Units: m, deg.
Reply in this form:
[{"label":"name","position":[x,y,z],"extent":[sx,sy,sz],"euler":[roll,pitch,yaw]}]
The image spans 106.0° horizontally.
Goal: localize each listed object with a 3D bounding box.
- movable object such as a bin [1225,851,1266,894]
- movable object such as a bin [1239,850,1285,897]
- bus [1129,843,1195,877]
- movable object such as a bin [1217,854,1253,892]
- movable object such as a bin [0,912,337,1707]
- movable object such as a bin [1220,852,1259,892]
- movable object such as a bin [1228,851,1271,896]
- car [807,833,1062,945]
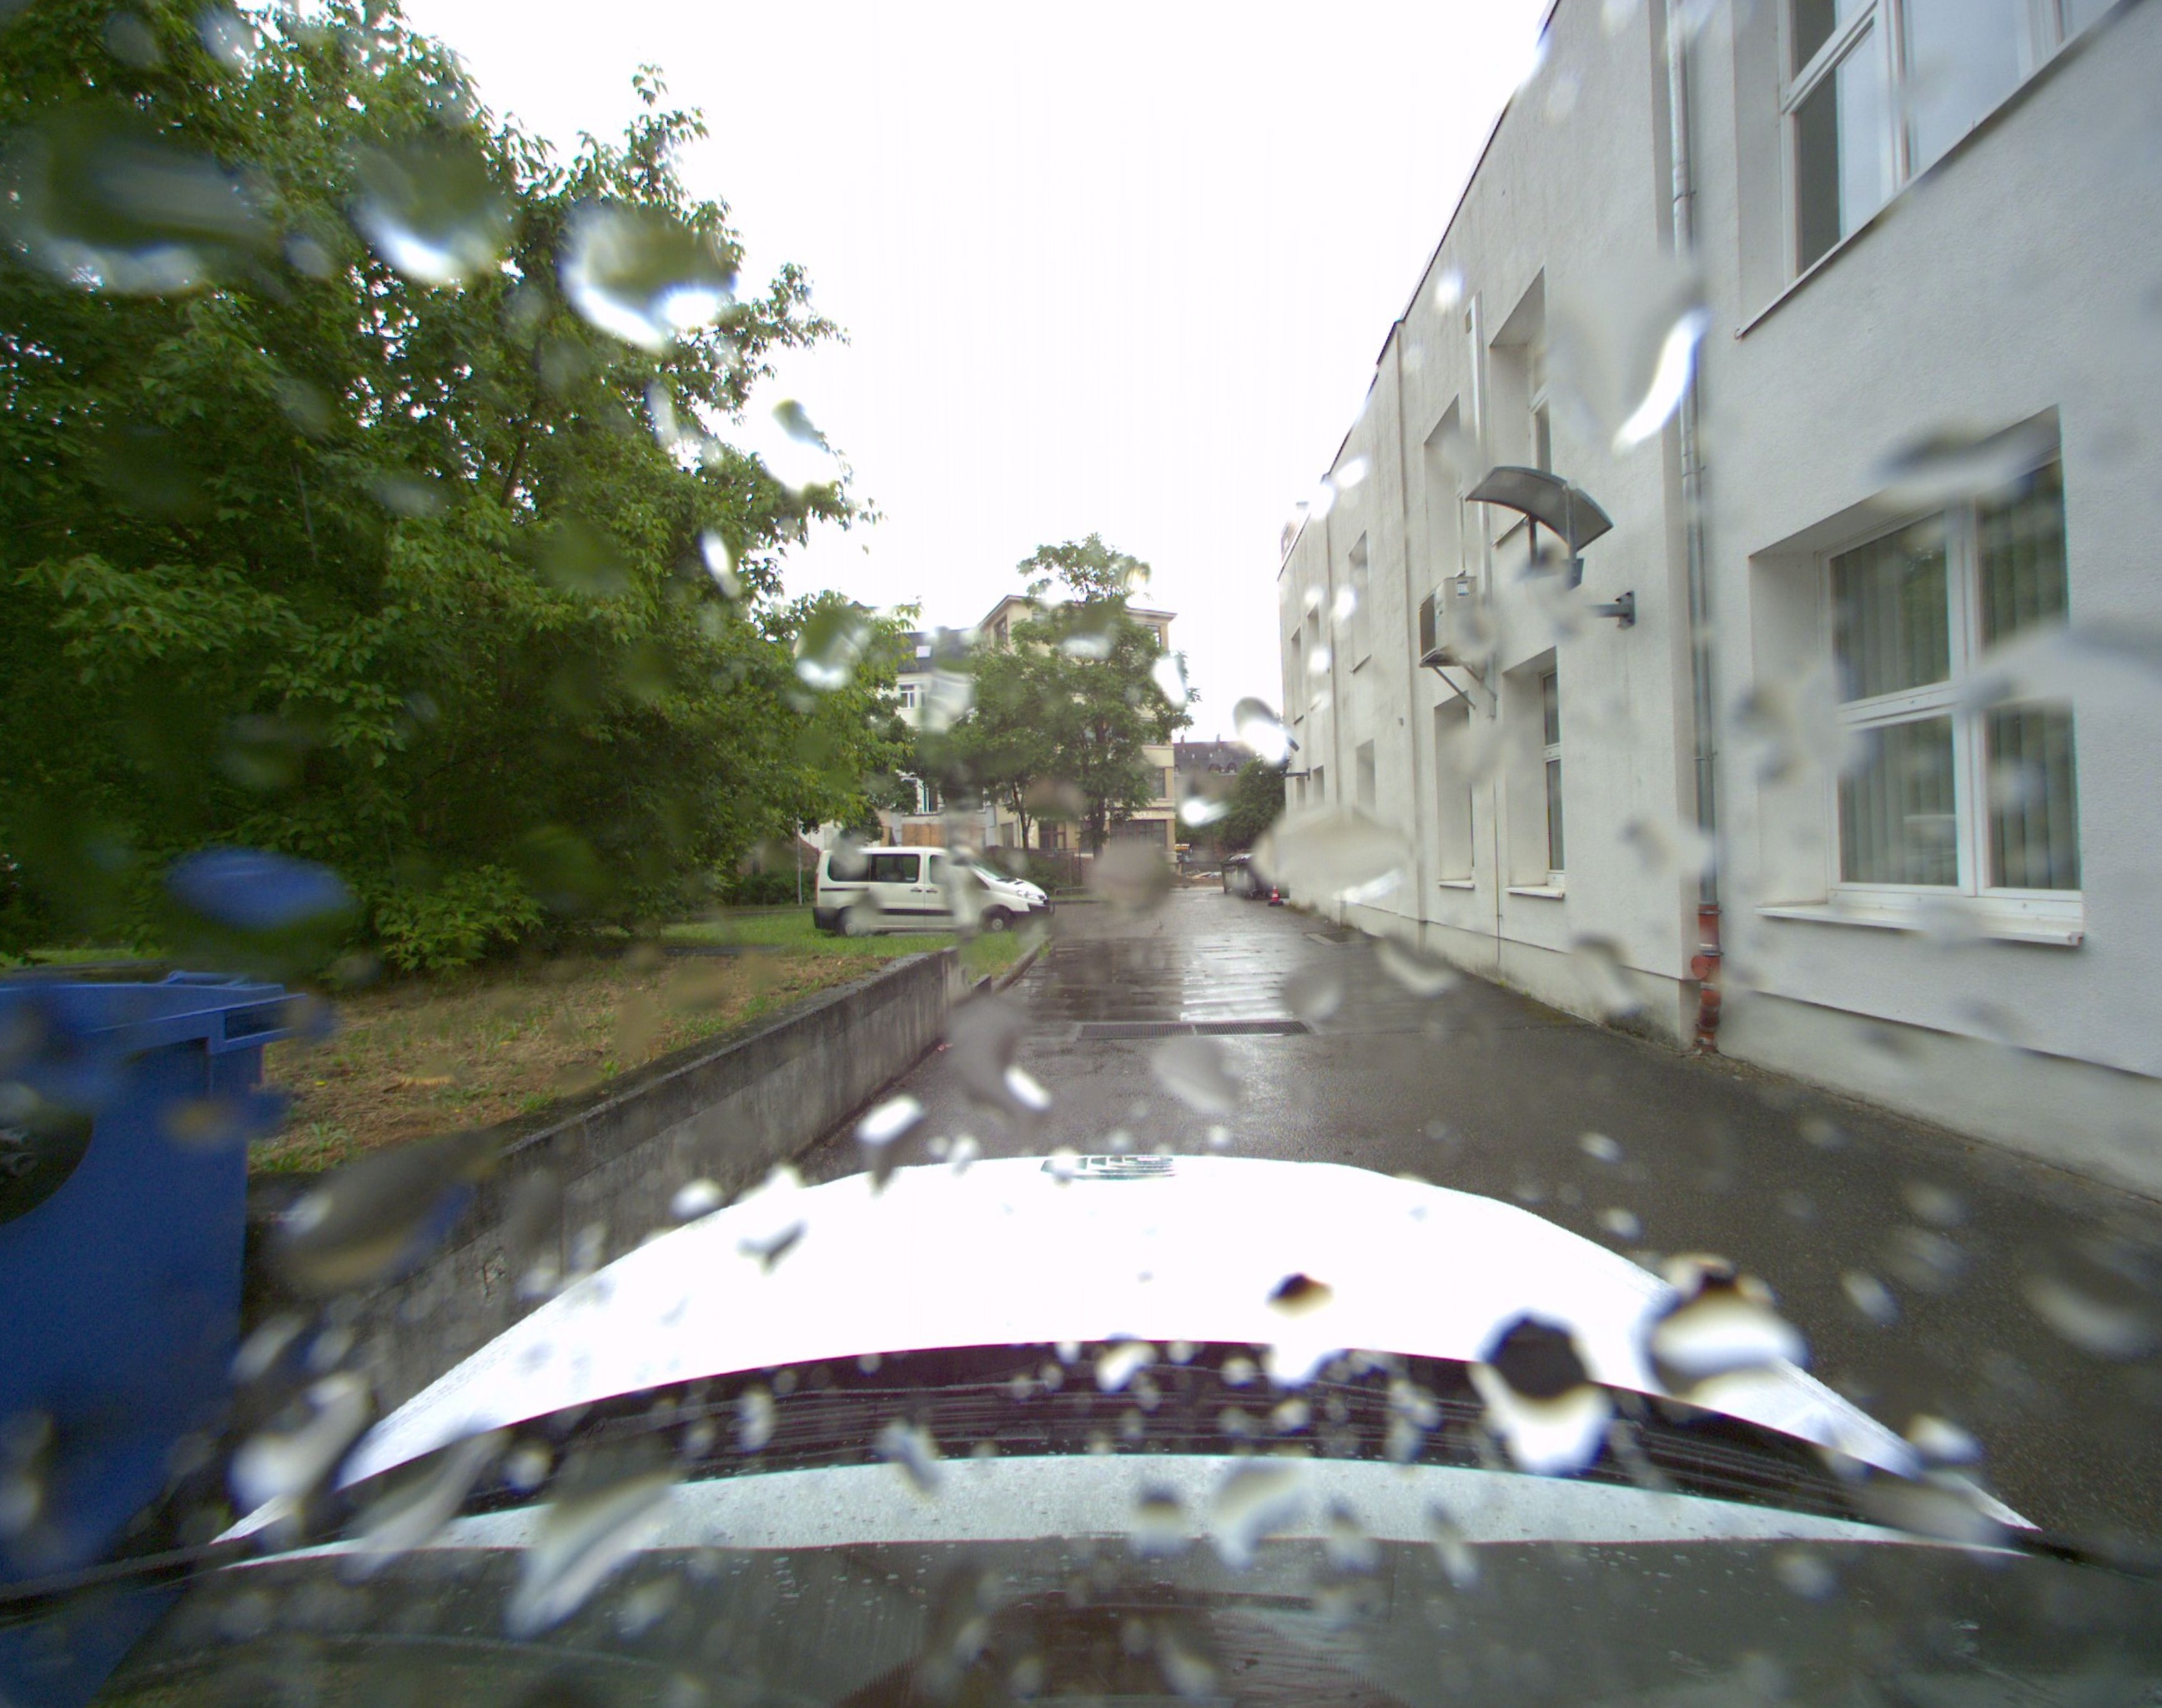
[{"label":"movable object such as a bin","position":[5.849,0.671,29.021],"extent":[1.209,1.468,1.236],"euler":[-1,-3,3]},{"label":"movable object such as a bin","position":[5.690,0.622,25.695],"extent":[1.209,1.437,1.236],"euler":[-1,-3,3]},{"label":"bus","position":[10.302,0.905,105.216],"extent":[2.820,3.874,11.956],"euler":[0,-3,-24]},{"label":"movable object such as a bin","position":[5.995,0.752,31.775],"extent":[1.209,1.437,1.260],"euler":[-1,-3,3]},{"label":"movable object such as a bin","position":[-2.433,0.827,1.476],"extent":[1.215,1.337,1.008],"euler":[-2,0,5]},{"label":"movable object such as a bin","position":[5.902,0.695,30.398],"extent":[1.209,1.437,1.260],"euler":[-1,-3,3]},{"label":"movable object such as a bin","position":[5.649,0.677,27.395],"extent":[1.209,1.437,1.295],"euler":[-1,-3,3]},{"label":"car","position":[-2.941,0.696,17.002],"extent":[4.757,2.013,2.003],"euler":[-3,0,5]}]
